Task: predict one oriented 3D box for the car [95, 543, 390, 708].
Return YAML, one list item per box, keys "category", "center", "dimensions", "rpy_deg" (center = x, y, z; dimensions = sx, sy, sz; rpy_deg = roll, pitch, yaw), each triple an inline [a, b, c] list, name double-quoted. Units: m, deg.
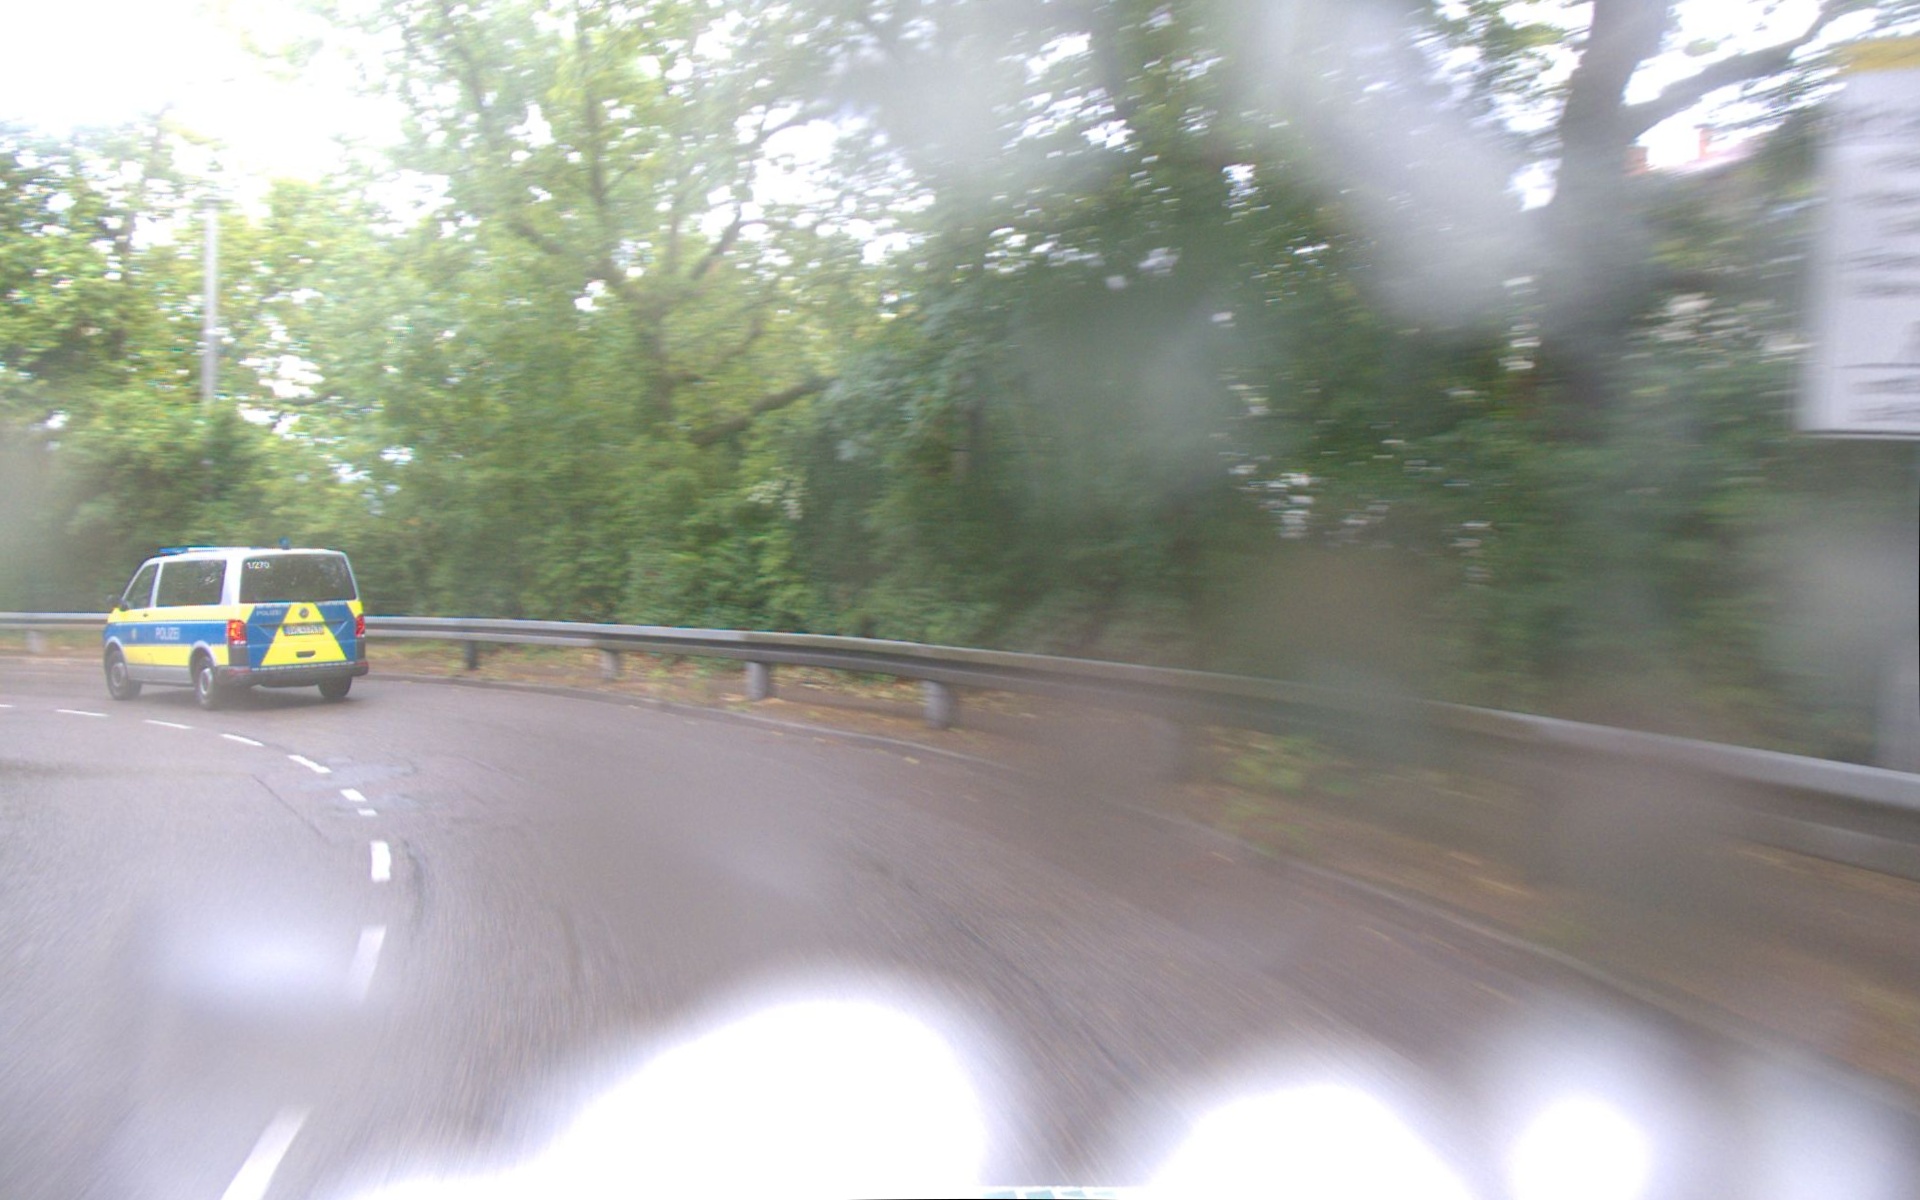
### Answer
- category: "car"
  center: [-9.670, 0.309, 22.130]
  dimensions: [4.491, 1.926, 1.987]
  rpy_deg: [-1, 2, 44]
